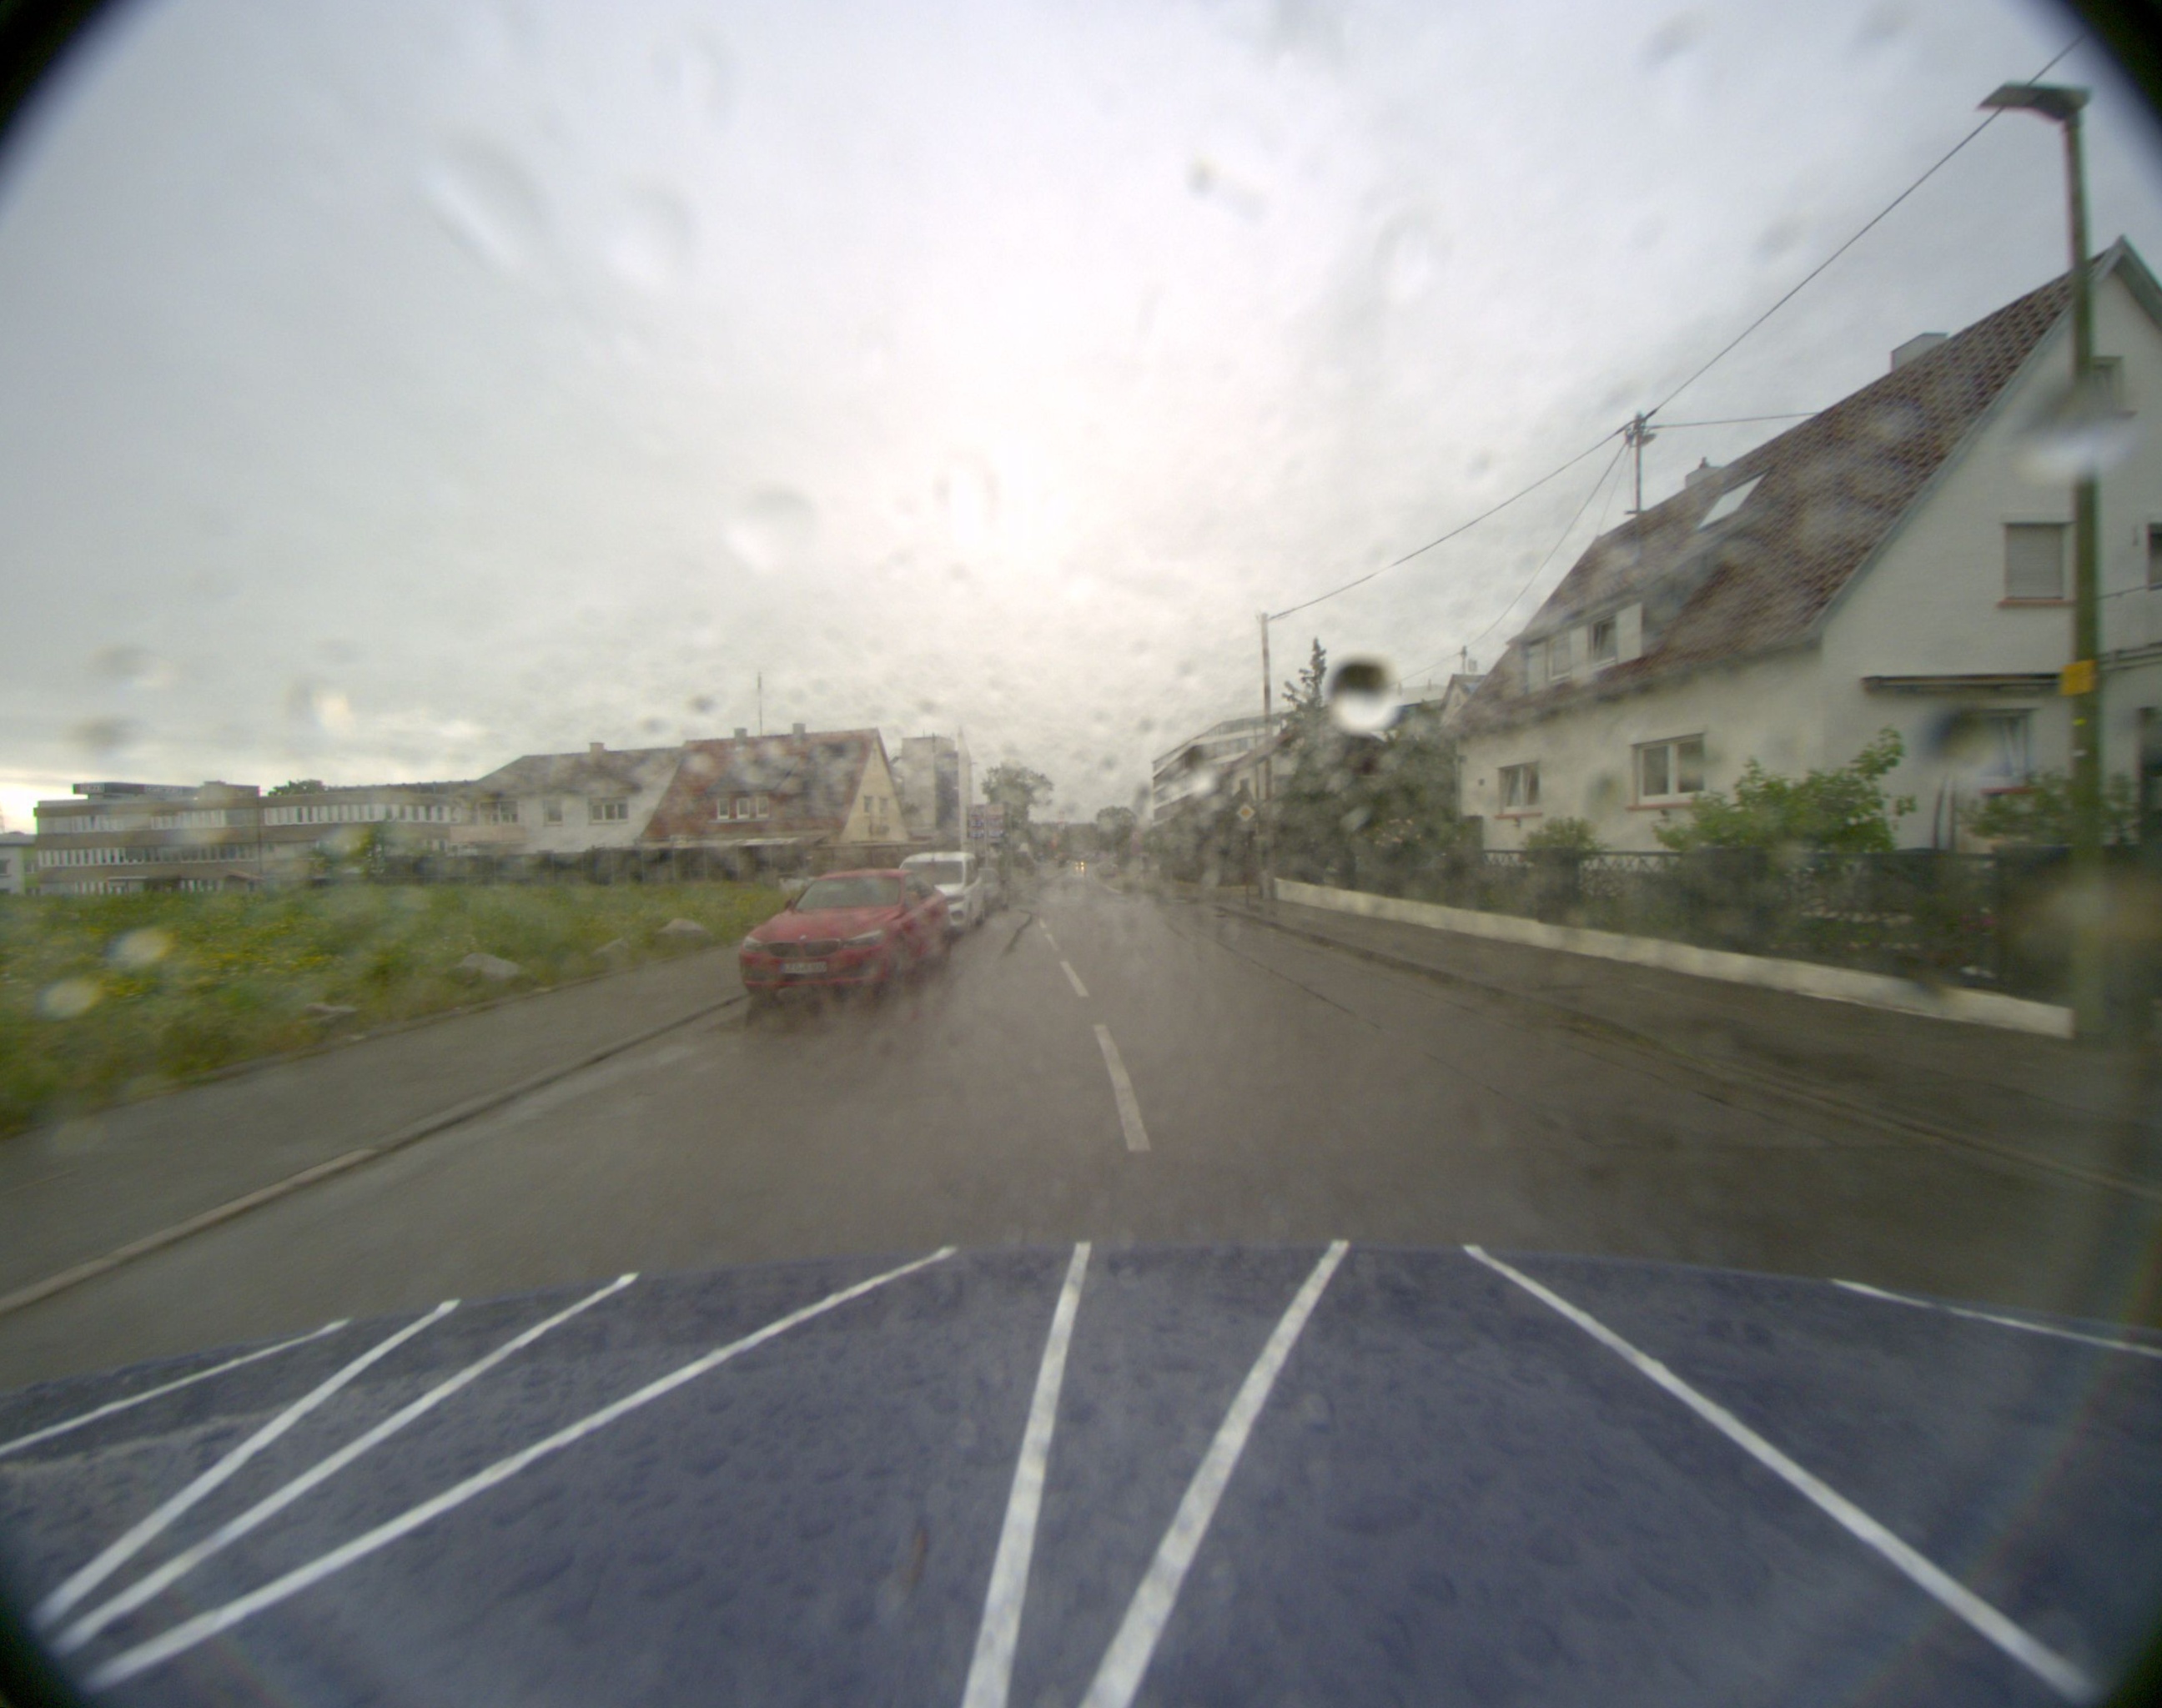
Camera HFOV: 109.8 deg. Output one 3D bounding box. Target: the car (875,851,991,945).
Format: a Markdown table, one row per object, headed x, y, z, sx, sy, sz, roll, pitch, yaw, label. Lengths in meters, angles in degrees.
| x | y | z | sx | sy | sz | roll | pitch | yaw | label |
| --- | --- | --- | --- | --- | --- | --- | --- | --- | --- |
| -3.256 | 0.888 | 17.604 | 1.773 | 1.814 | 4.574 | -3 | 0 | -1 | car |

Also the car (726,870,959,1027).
| x | y | z | sx | sy | sz | roll | pitch | yaw | label |
| --- | --- | --- | --- | --- | --- | --- | --- | --- | --- |
| -2.992 | 1.089 | 10.657 | 1.646 | 1.565 | 4.644 | -3 | 0 | 1 | car |

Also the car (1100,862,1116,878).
| x | y | z | sx | sy | sz | roll | pitch | yaw | label |
| --- | --- | --- | --- | --- | --- | --- | --- | --- | --- |
| 3.180 | 1.875 | 89.324 | 1.841 | 1.696 | 4.324 | -2 | 0 | 1 | car |

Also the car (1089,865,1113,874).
| x | y | z | sx | sy | sz | roll | pitch | yaw | label |
| --- | --- | --- | --- | --- | --- | --- | --- | --- | --- |
| 3.550 | 2.760 | 134.864 | 4.166 | 1.411 | 2.001 | -4 | 0 | 5 | car |

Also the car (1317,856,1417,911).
| x | y | z | sx | sy | sz | roll | pitch | yaw | label |
| --- | --- | --- | --- | --- | --- | --- | --- | --- | --- |
| 8.785 | 0.858 | 23.638 | 1.783 | 1.458 | 3.456 | -2 | 1 | 0 | car |

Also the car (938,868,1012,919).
| x | y | z | sx | sy | sz | roll | pitch | yaw | label |
| --- | --- | --- | --- | --- | --- | --- | --- | --- | --- |
| -3.262 | 1.176 | 24.140 | 1.773 | 1.328 | 4.320 | -3 | 0 | -1 | car |
